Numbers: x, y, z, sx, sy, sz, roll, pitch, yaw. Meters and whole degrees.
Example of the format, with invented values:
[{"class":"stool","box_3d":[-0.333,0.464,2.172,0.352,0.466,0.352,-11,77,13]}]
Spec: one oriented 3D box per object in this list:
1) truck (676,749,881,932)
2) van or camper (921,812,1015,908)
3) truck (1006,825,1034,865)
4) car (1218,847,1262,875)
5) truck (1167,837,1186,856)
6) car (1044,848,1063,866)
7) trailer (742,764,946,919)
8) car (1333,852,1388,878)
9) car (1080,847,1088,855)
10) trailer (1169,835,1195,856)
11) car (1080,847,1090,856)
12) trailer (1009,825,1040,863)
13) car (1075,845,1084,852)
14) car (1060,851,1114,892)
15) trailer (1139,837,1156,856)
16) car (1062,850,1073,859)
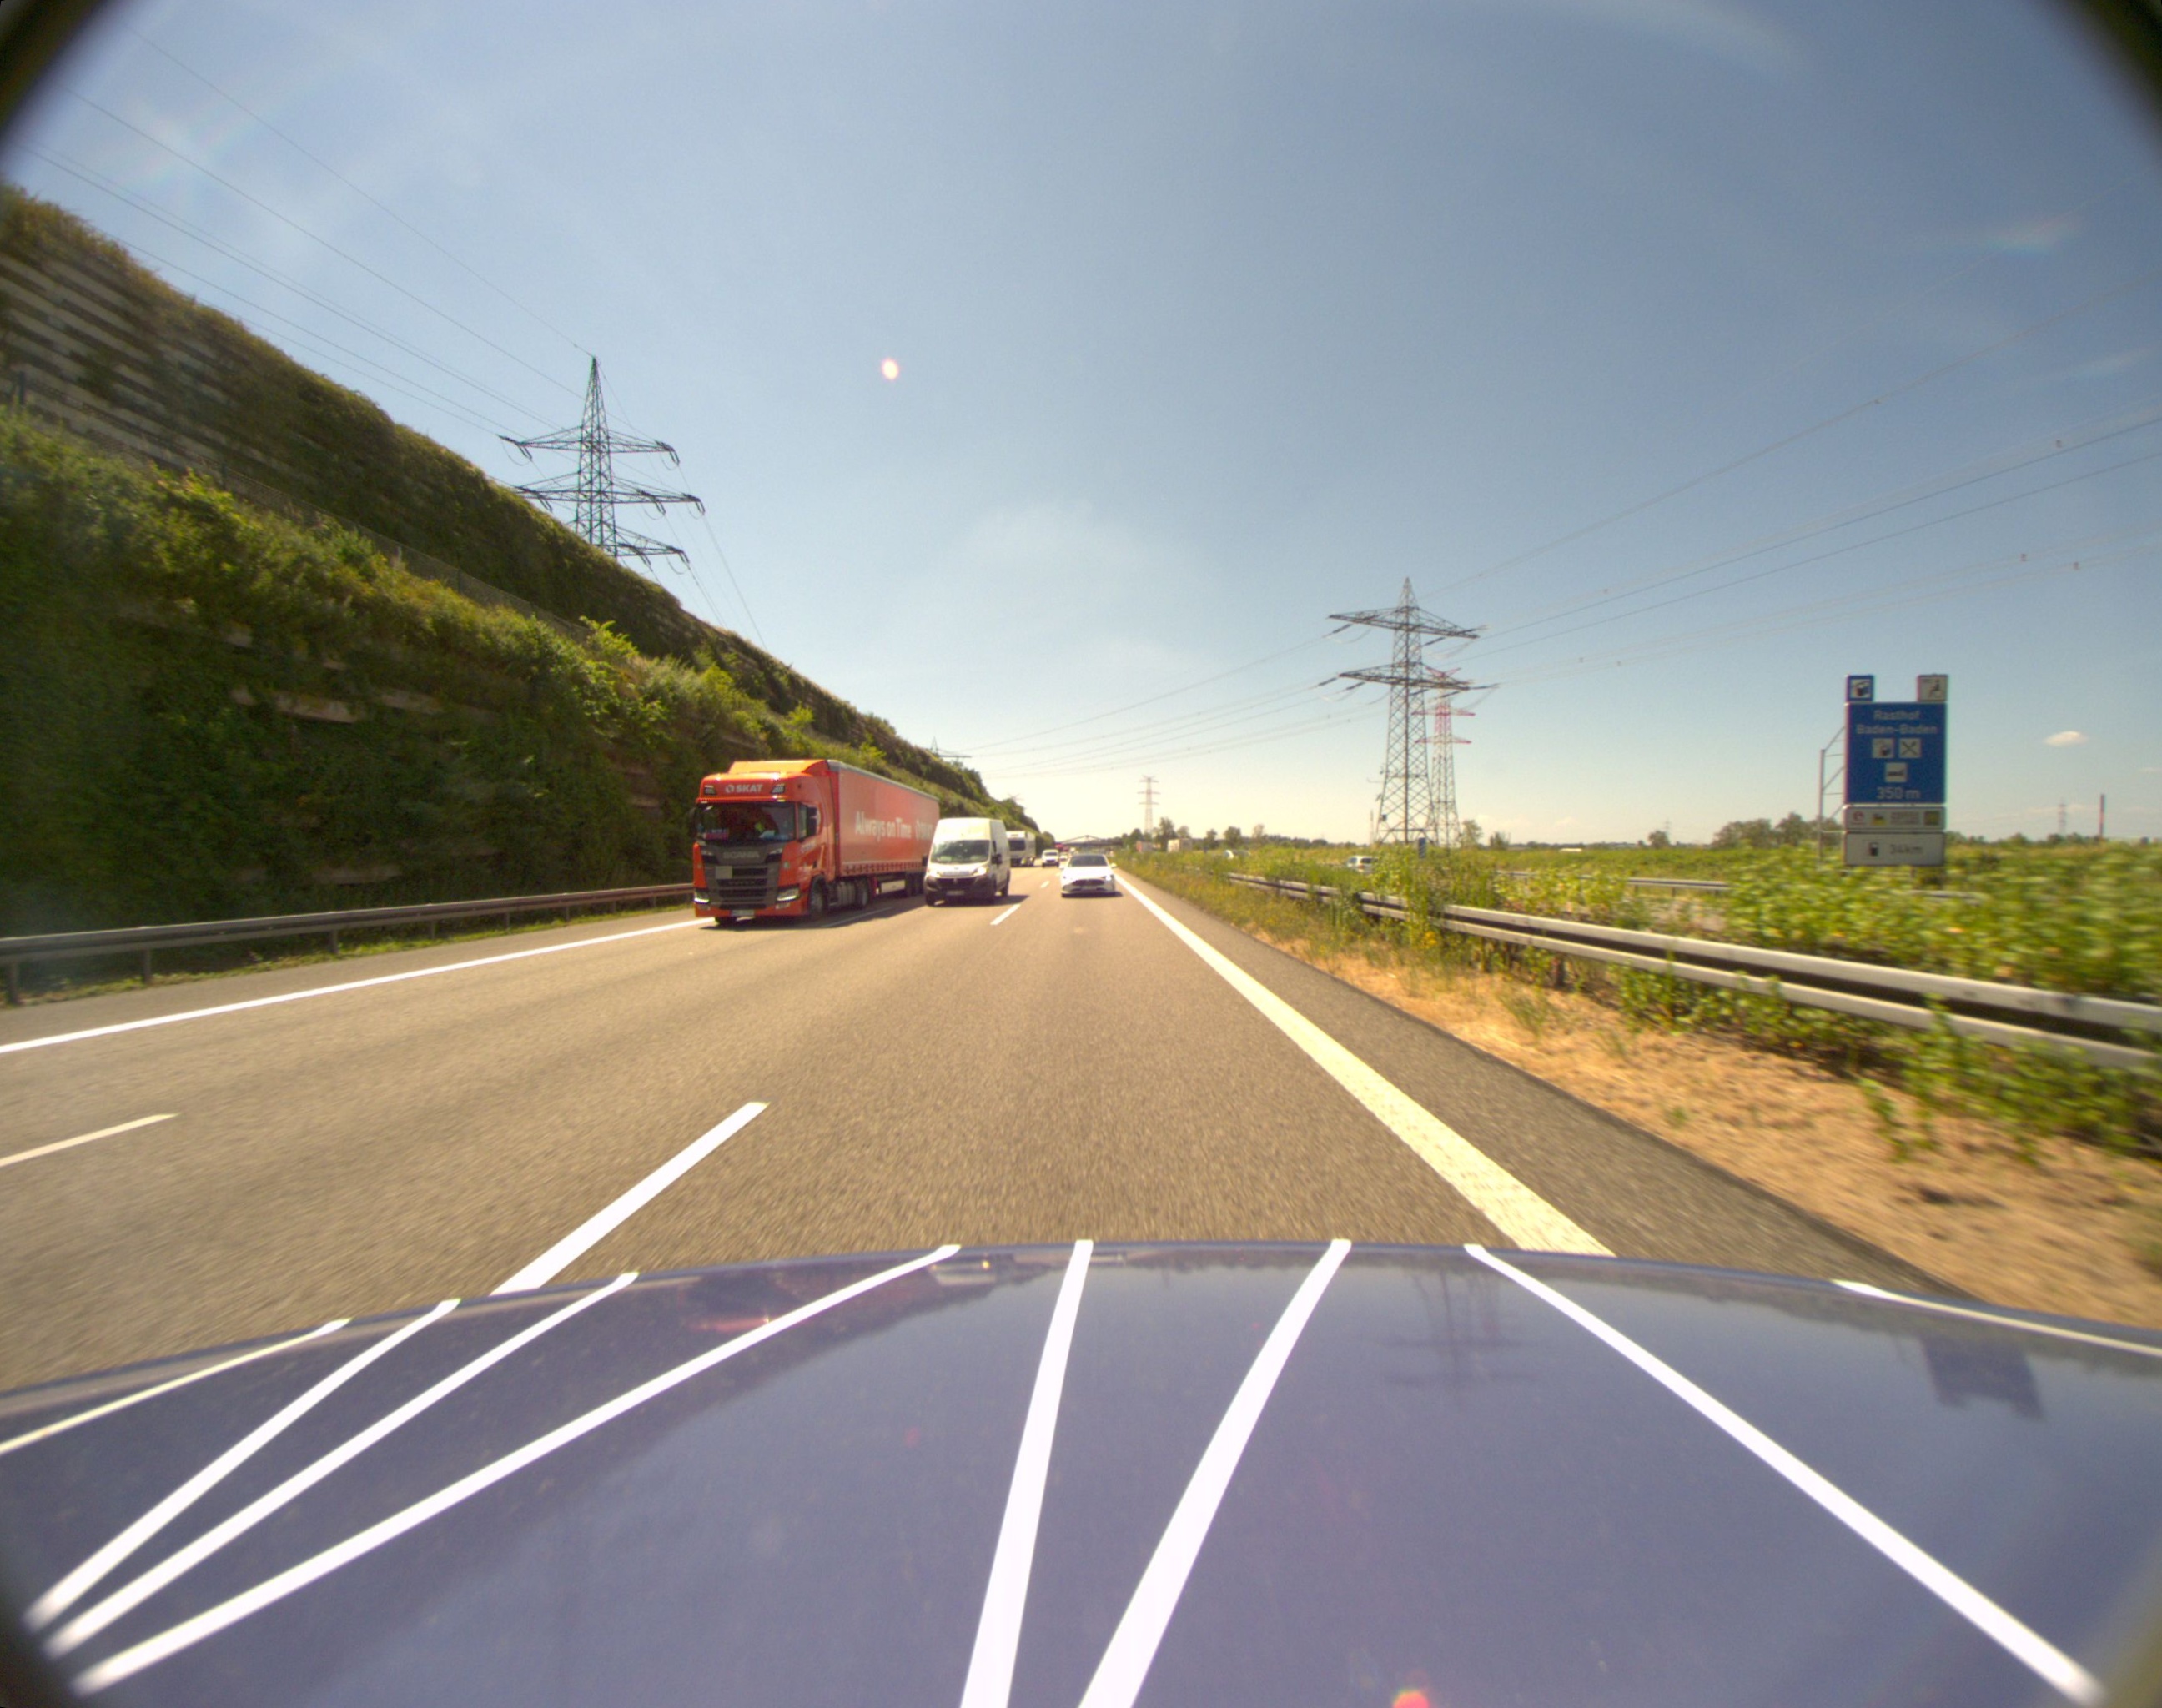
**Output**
[{"class":"truck","box_3d":[-7.508,-0.317,19.970,2.624,3.969,6.526,-1,1,0]},{"class":"van or camper","box_3d":[-3.583,0.156,25.500,2.102,2.753,6.756,-1,0,0]},{"class":"truck","box_3d":[-6.759,-1.013,84.938,2.514,4.196,6.255,-1,1,0]},{"class":"car","box_3d":[9.870,0.378,47.427,1.817,1.674,4.269,0,1,-1]},{"class":"truck","box_3d":[19.076,-1.566,152.203,2.842,3.729,6.848,0,0,0]},{"class":"car","box_3d":[-2.864,0.262,79.352,1.784,1.783,3.999,-2,0,0]},{"class":"trailer","box_3d":[-7.396,-0.367,26.623,2.652,3.982,13.604,-1,0,1]},{"class":"car","box_3d":[16.345,0.636,44.694,1.598,1.426,4.269,0,1,-1]},{"class":"car","box_3d":[0.753,-0.731,186.454,1.998,2.002,3.999,-2,1,0]},{"class":"trailer","box_3d":[19.099,-1.606,144.281,2.861,3.800,15.976,0,0,0]},{"class":"car","box_3d":[0.711,-0.464,133.699,1.784,1.475,3.999,0,0,-1]},{"class":"trailer","box_3d":[-6.787,-1.148,93.385,2.521,4.187,17.025,-1,0,0]},{"class":"car","box_3d":[-0.347,-1.109,164.847,1.784,1.475,3.999,-2,0,-1]},{"class":"car","box_3d":[0.225,0.645,30.592,1.999,1.474,4.107,-1,0,0]},{"class":"trailer","box_3d":[15.197,-1.737,175.636,2.597,4.213,14.327,0,0,0]},{"class":"car","box_3d":[-2.369,0.020,129.534,1.784,1.475,3.999,-2,0,-1]}]
